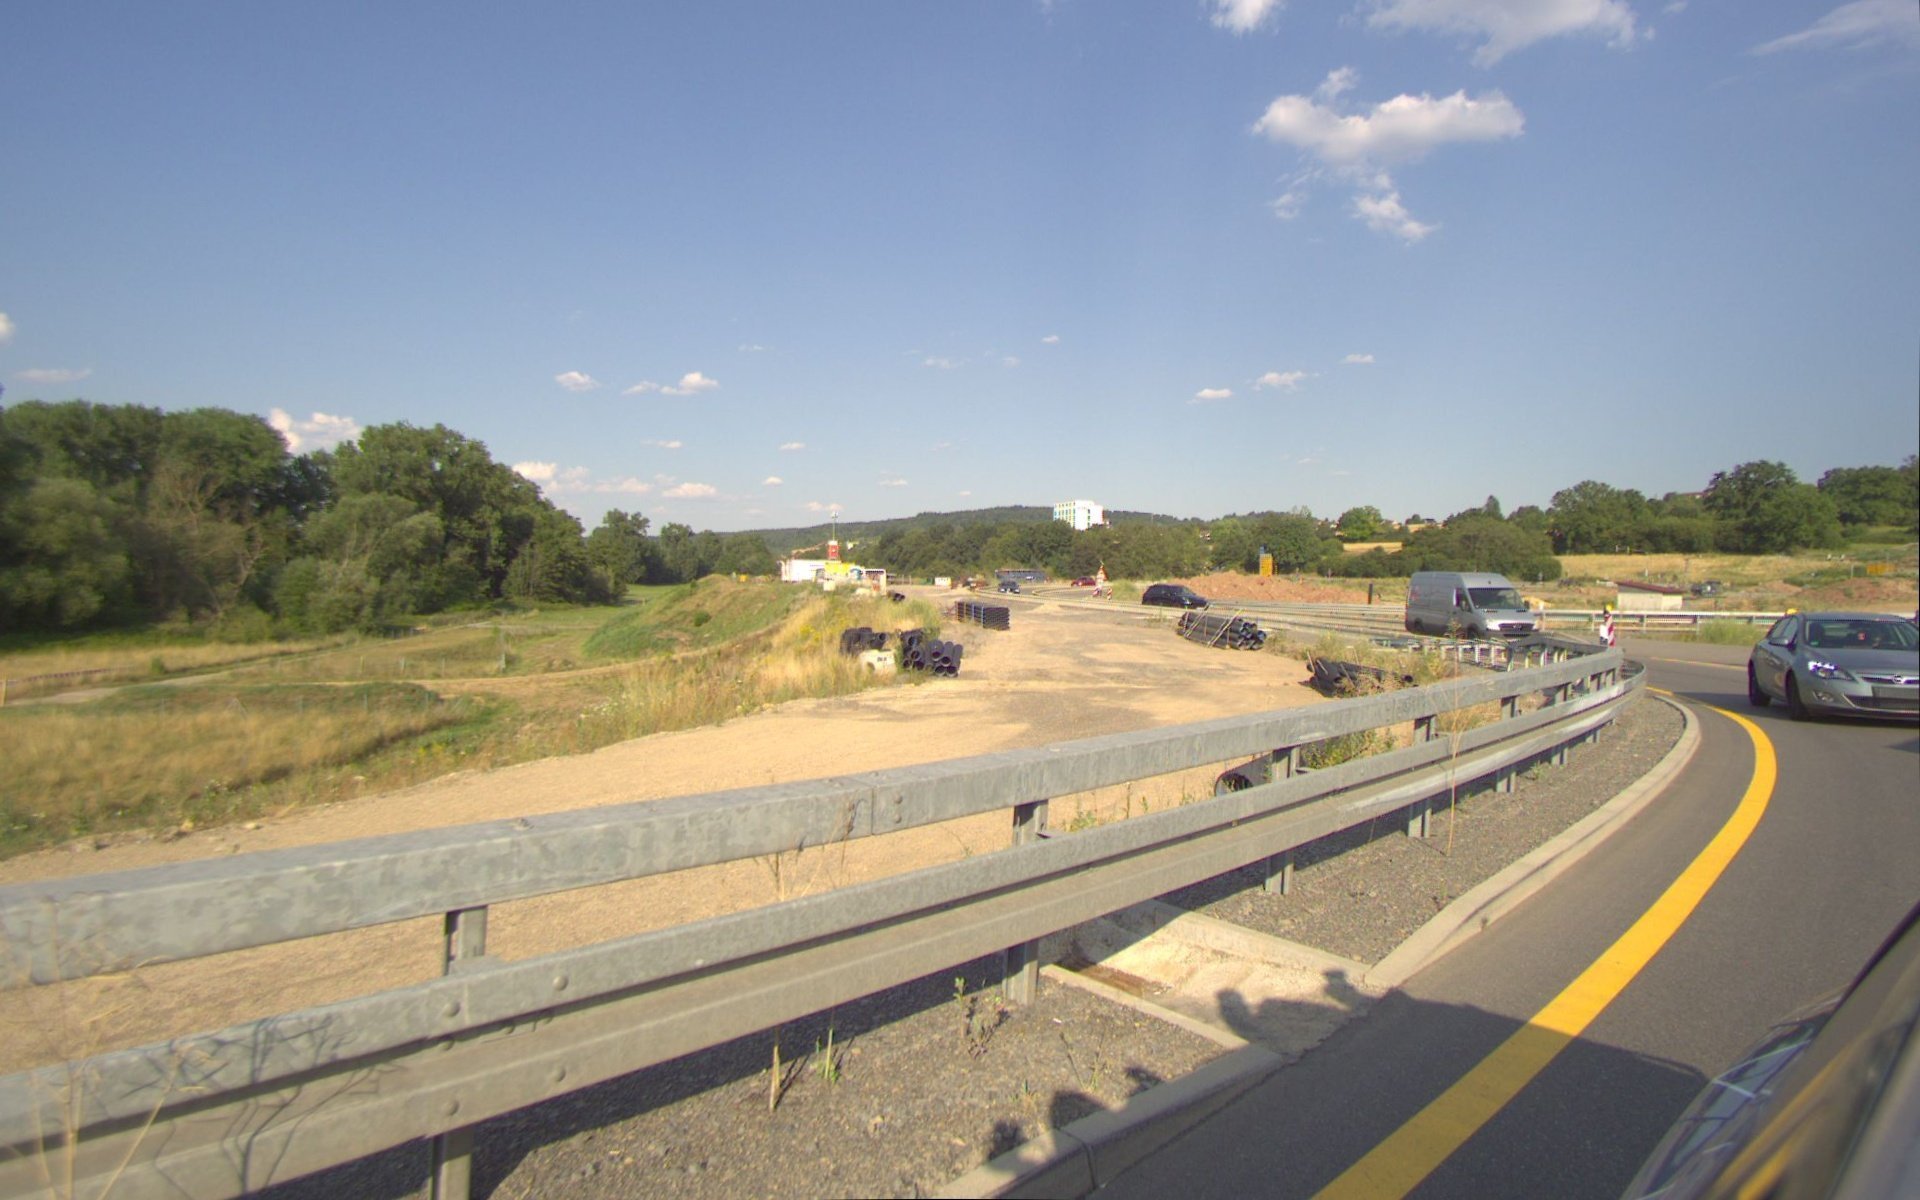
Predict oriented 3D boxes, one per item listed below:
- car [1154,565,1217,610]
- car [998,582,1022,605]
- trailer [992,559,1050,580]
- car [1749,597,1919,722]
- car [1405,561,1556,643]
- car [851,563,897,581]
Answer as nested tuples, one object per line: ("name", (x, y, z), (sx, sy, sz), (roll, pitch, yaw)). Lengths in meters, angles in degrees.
("car", (12.914, -0.750, 58.285), (1.837, 2.432, 4.010), (0, 3, -15))
("car", (4.281, -0.579, 86.750), (1.605, 1.808, 4.131), (1, 3, -2))
("trailer", (7.520, -3.743, 124.193), (7.108, 2.443, 3.007), (-2, 3, -43))
("car", (12.507, 0.748, 14.105), (1.733, 1.503, 4.207), (-1, -1, 30))
("car", (17.834, -0.035, 35.086), (1.880, 2.531, 5.805), (1, 3, -4))
("car", (-10.814, -3.548, 127.342), (5.208, 2.104, 2.493), (0, 3, -22))
